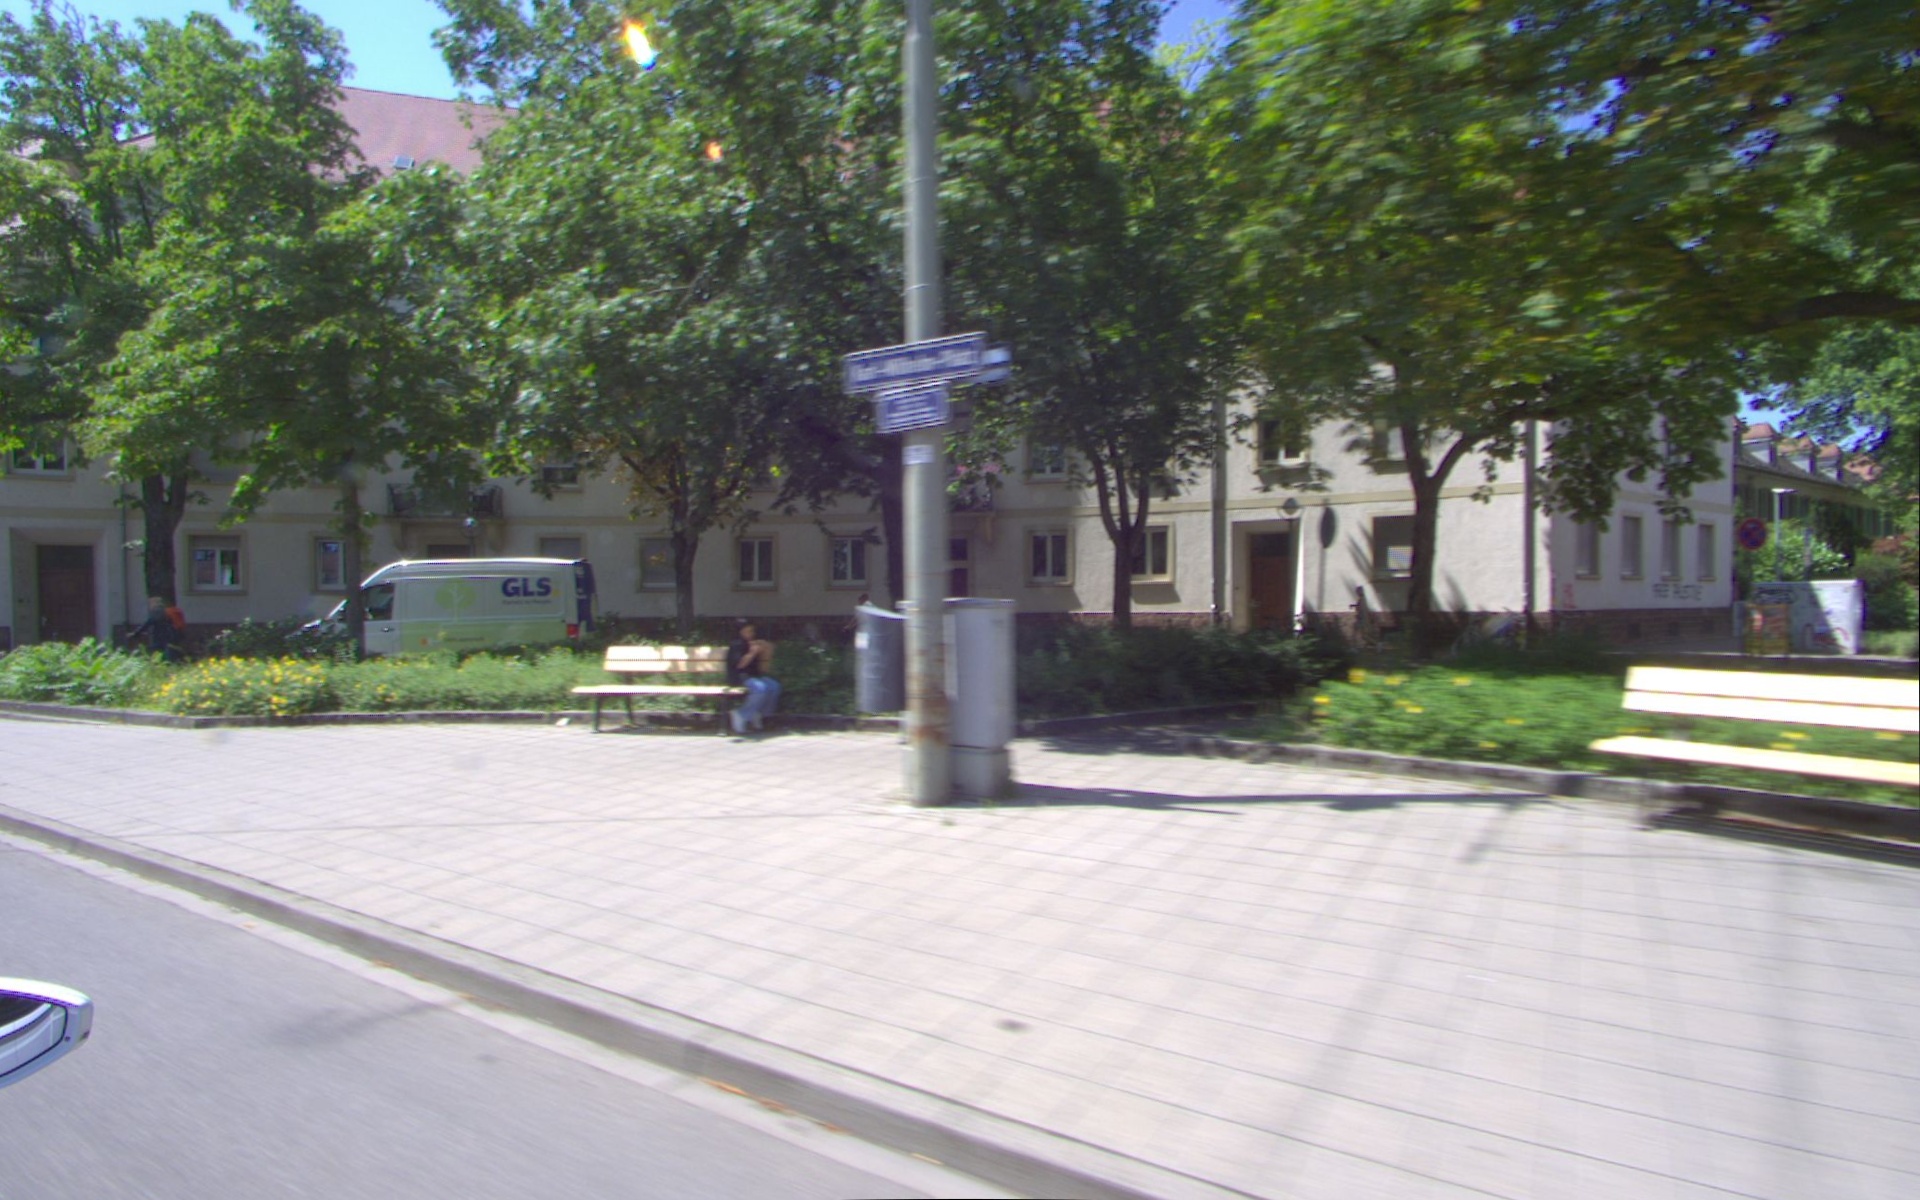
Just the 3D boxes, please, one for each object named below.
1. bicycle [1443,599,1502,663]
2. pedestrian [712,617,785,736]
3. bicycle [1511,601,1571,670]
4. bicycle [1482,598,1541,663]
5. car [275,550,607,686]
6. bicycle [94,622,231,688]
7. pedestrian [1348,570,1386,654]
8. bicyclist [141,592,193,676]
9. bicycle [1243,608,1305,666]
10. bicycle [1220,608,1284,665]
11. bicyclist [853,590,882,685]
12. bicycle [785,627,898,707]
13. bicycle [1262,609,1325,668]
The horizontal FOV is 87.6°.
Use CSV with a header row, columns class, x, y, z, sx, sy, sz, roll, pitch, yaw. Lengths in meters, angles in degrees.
class,x,y,z,sx,sy,sz,roll,pitch,yaw
bicycle,11.175,0.663,21.793,0.541,1.317,2.139,-1,-1,44
pedestrian,-2.086,0.731,9.881,0.472,1.107,0.507,1,3,38
bicycle,11.576,0.685,19.913,0.541,1.317,2.139,-1,-1,44
bicycle,11.609,0.630,21.041,0.541,1.317,2.139,-1,-1,44
car,-10.506,0.351,20.696,5.739,2.623,2.000,0,-1,-7
bicycle,-15.944,1.083,20.080,2.054,1.252,0.578,0,-1,-25
pedestrian,10.030,0.304,24.696,0.761,2.040,0.804,-1,0,29
bicyclist,-15.905,0.675,20.108,0.684,1.667,0.578,0,0,-24
bicycle,7.664,0.883,24.372,0.510,1.365,2.223,-1,-1,44
bicycle,7.265,0.892,24.831,0.510,1.361,2.308,-1,-1,44
bicyclist,-1.791,0.721,19.457,0.524,1.823,0.604,0,0,-4
bicycle,-2.277,1.284,19.432,2.126,1.504,0.593,0,0,-4
bicycle,7.885,0.886,23.624,0.541,1.317,2.139,-1,-1,44
